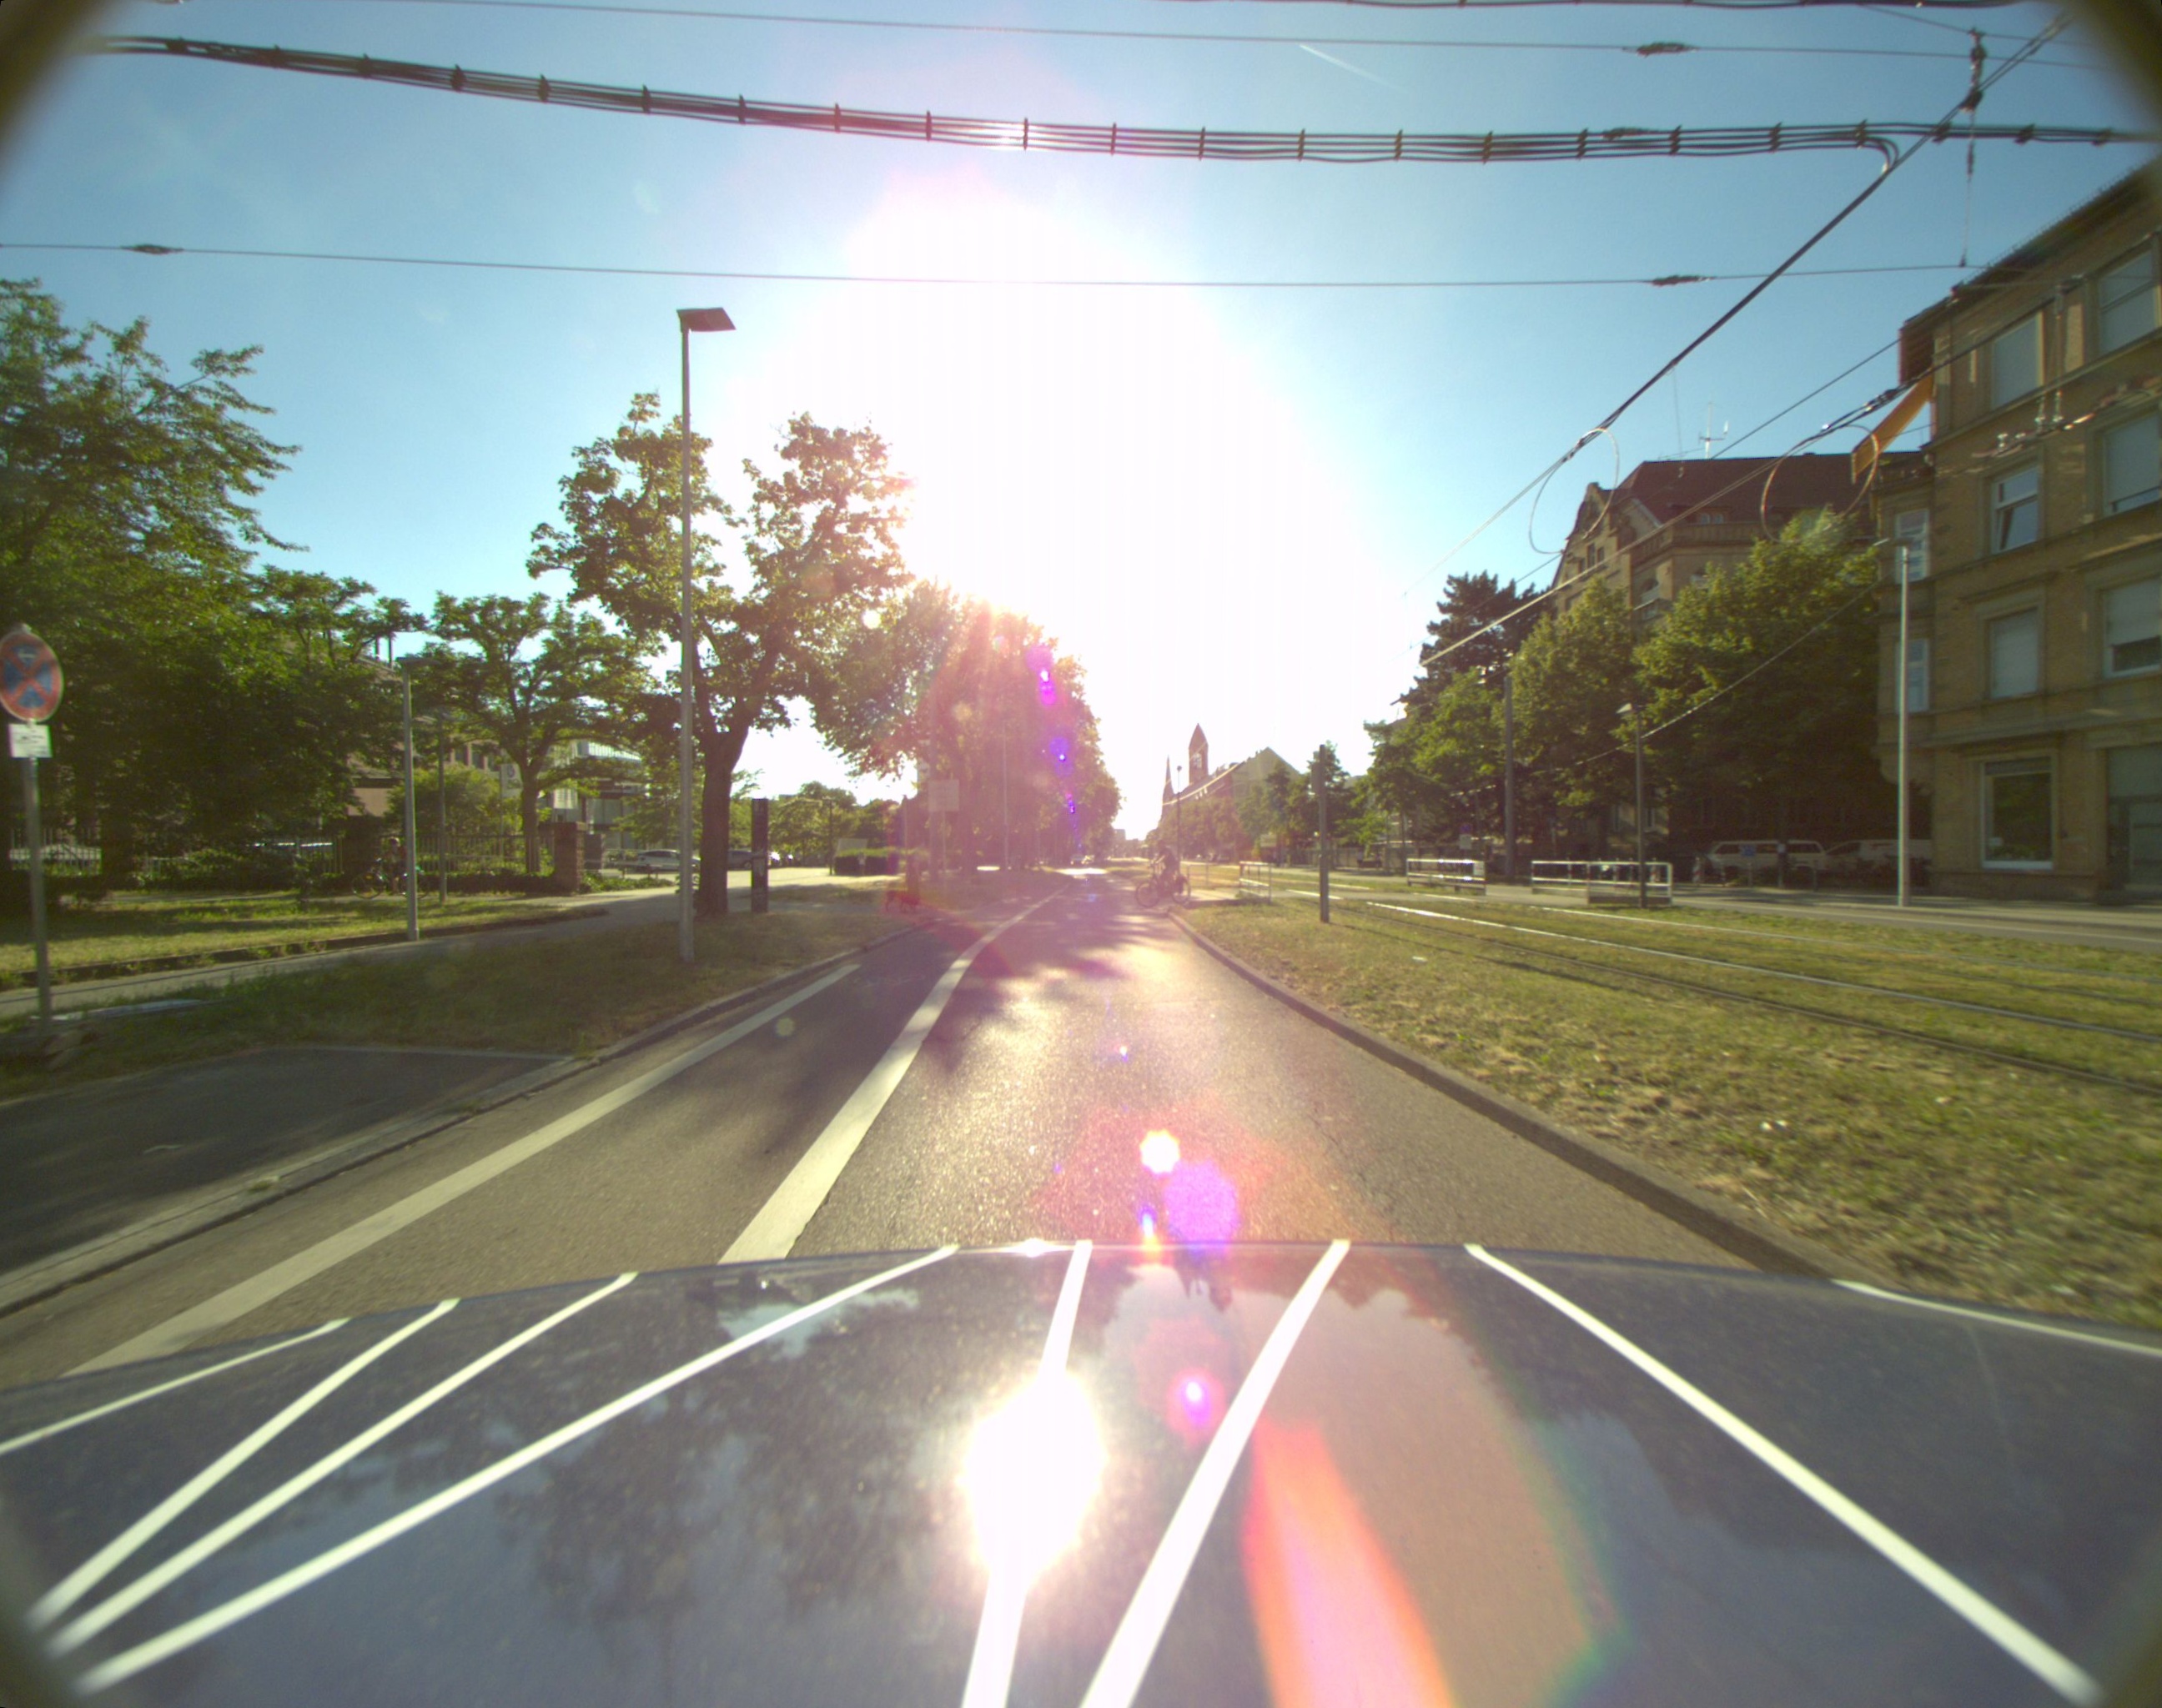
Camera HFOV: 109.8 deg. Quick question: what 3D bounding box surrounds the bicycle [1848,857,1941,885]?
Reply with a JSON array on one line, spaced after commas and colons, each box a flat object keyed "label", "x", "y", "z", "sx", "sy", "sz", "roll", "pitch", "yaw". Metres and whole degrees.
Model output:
[{"label": "bicycle", "x": 28.171, "y": 0.572, "z": 26.346, "sx": 0.712, "sy": 0.904, "sz": 2.079, "roll": -3, "pitch": 1, "yaw": -20}]

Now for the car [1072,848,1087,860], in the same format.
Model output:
[{"label": "car", "x": -0.198, "y": 0.000, "z": 98.297, "sx": 1.798, "sy": 1.501, "sz": 4.000, "roll": -2, "pitch": 0, "yaw": 2}]

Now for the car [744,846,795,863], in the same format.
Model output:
[{"label": "car", "x": -29.670, "y": 0.068, "z": 72.552, "sx": 4.393, "sy": 1.616, "sz": 1.797, "roll": 0, "pitch": 1, "yaw": -20}]

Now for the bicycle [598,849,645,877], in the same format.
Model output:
[{"label": "bicycle", "x": -23.571, "y": 0.450, "z": 39.039, "sx": 0.746, "sy": 1.382, "sz": 2.637, "roll": 0, "pitch": 1, "yaw": 0}]

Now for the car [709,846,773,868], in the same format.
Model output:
[{"label": "car", "x": -26.135, "y": 0.202, "z": 58.595, "sx": 4.393, "sy": 1.616, "sz": 1.797, "roll": 0, "pitch": 1, "yaw": -20}]

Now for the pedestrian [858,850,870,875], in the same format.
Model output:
[{"label": "pedestrian", "x": -12.662, "y": 0.506, "z": 44.278, "sx": 0.550, "sy": 1.434, "sz": 0.513, "roll": 0, "pitch": 1, "yaw": 0}]

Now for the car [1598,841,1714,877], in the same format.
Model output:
[{"label": "car", "x": 26.779, "y": 0.248, "z": 35.557, "sx": 3.990, "sy": 1.502, "sz": 1.802, "roll": -2, "pitch": 2, "yaw": 23}]

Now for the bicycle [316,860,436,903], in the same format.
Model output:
[{"label": "bicycle", "x": -18.483, "y": 0.717, "z": 19.962, "sx": 2.291, "sy": 1.050, "sz": 0.618, "roll": 2, "pitch": 1, "yaw": -13}]

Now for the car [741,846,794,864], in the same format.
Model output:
[{"label": "car", "x": -28.831, "y": 0.085, "z": 69.975, "sx": 4.393, "sy": 1.616, "sz": 1.797, "roll": 0, "pitch": 1, "yaw": -20}]

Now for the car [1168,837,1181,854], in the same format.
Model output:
[{"label": "car", "x": 15.648, "y": -1.408, "z": 127.424, "sx": 1.798, "sy": 2.766, "sz": 4.000, "roll": 0, "pitch": 1, "yaw": 2}]

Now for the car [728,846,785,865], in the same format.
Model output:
[{"label": "car", "x": -27.362, "y": 0.119, "z": 64.211, "sx": 4.393, "sy": 1.616, "sz": 1.797, "roll": 0, "pitch": 1, "yaw": -20}]

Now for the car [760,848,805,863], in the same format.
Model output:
[{"label": "car", "x": -31.566, "y": 0.128, "z": 80.526, "sx": 4.393, "sy": 1.616, "sz": 1.797, "roll": 0, "pitch": 1, "yaw": -20}]

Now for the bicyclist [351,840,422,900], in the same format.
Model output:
[{"label": "bicyclist", "x": -18.272, "y": 0.415, "z": 20.003, "sx": 1.207, "sy": 1.531, "sz": 0.618, "roll": 1, "pitch": 1, "yaw": -13}]

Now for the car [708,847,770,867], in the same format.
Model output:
[{"label": "car", "x": -27.568, "y": 0.207, "z": 61.412, "sx": 4.393, "sy": 1.616, "sz": 1.797, "roll": 0, "pitch": 1, "yaw": -20}]

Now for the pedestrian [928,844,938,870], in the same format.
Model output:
[{"label": "pedestrian", "x": -10.565, "y": 0.234, "z": 54.241, "sx": 0.645, "sy": 1.830, "sz": 0.565, "roll": 0, "pitch": 1, "yaw": 0}]

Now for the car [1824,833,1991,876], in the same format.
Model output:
[{"label": "car", "x": 38.848, "y": 0.000, "z": 35.870, "sx": 2.026, "sy": 1.814, "sz": 5.057, "roll": -3, "pitch": 2, "yaw": -33}]

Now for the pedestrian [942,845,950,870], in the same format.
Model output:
[{"label": "pedestrian", "x": -9.638, "y": 0.244, "z": 54.302, "sx": 0.502, "sy": 1.830, "sz": 0.565, "roll": 0, "pitch": 1, "yaw": 0}]

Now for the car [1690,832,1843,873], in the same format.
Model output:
[{"label": "car", "x": 32.554, "y": -0.043, "z": 36.302, "sx": 5.058, "sy": 1.814, "sz": 2.026, "roll": -1, "pitch": 2, "yaw": 27}]

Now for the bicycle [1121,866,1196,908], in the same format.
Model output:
[{"label": "bicycle", "x": 2.110, "y": 0.864, "z": 20.465, "sx": 2.066, "sy": 0.973, "sz": 0.720, "roll": -3, "pitch": 1, "yaw": -38}]

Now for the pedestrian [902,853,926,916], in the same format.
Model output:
[{"label": "pedestrian", "x": -4.442, "y": 0.796, "z": 20.159, "sx": 0.532, "sy": 1.653, "sz": 0.486, "roll": 1, "pitch": 1, "yaw": -20}]

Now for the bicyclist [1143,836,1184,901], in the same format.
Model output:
[{"label": "bicyclist", "x": 2.222, "y": 0.381, "z": 20.549, "sx": 0.747, "sy": 1.704, "sz": 0.720, "roll": -3, "pitch": 1, "yaw": -38}]

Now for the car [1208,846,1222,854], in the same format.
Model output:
[{"label": "car", "x": 24.413, "y": -0.752, "z": 138.690, "sx": 1.799, "sy": 1.501, "sz": 4.000, "roll": 0, "pitch": 1, "yaw": 0}]

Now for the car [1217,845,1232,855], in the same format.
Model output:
[{"label": "car", "x": 24.099, "y": -0.679, "z": 127.738, "sx": 1.799, "sy": 1.501, "sz": 4.000, "roll": 0, "pitch": 1, "yaw": 0}]

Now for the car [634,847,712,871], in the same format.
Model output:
[{"label": "car", "x": -26.550, "y": 0.301, "z": 49.589, "sx": 4.152, "sy": 1.501, "sz": 1.797, "roll": 0, "pitch": 1, "yaw": -16}]
